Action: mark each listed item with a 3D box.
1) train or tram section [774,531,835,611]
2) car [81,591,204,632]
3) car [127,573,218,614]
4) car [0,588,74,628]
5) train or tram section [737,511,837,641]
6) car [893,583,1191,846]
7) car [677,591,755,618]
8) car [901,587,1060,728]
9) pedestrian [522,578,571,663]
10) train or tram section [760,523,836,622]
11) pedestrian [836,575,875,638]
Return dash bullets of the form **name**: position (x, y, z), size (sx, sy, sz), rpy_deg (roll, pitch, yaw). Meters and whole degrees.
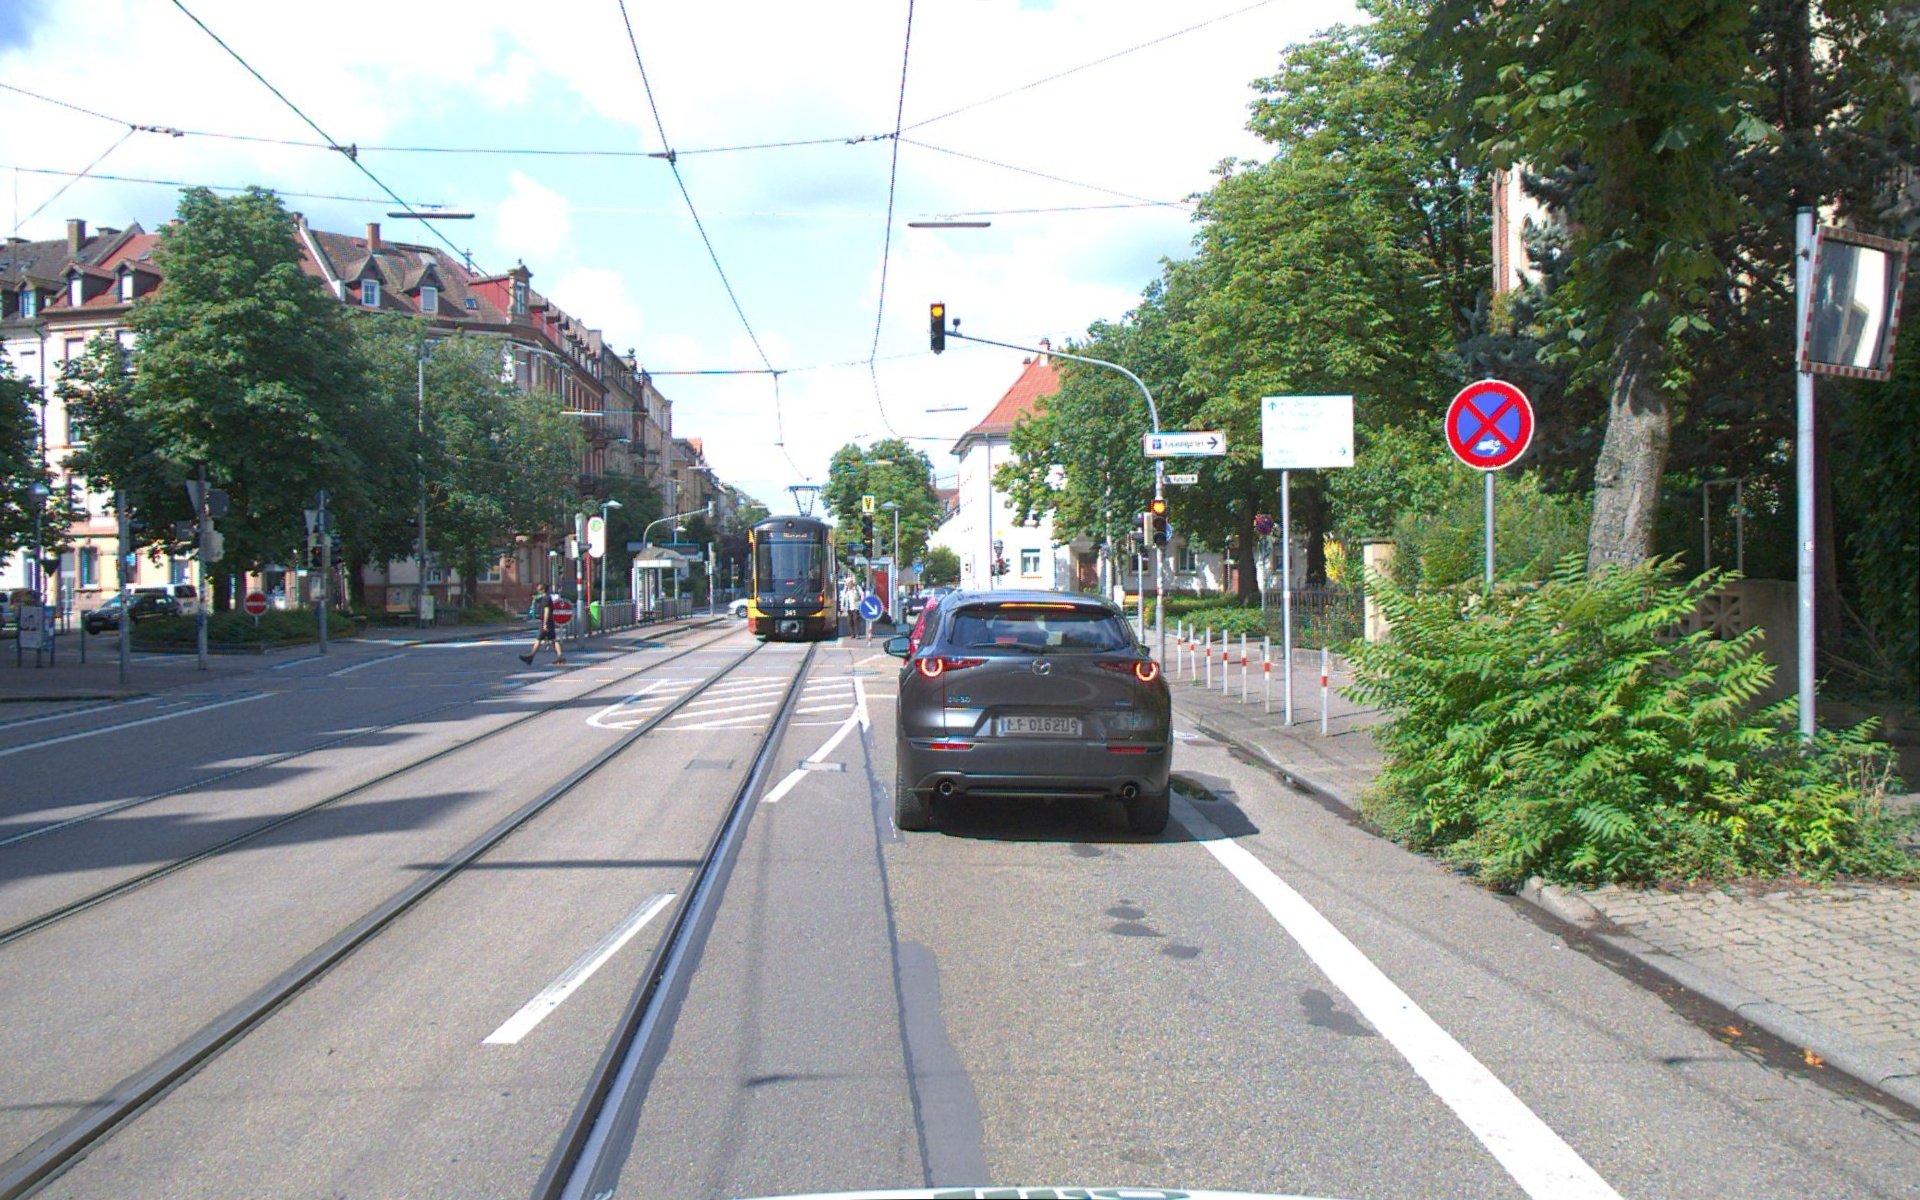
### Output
- **train or tram section**: position (-7.534, -1.484, 81.439), size (2.698, 3.551, 14.396), rpy_deg (-1, 1, -4)
- **car**: position (-32.148, 0.436, 65.087), size (4.031, 1.545, 1.736), rpy_deg (-1, 0, -40)
- **car**: position (-38.916, -0.321, 81.699), size (3.907, 1.937, 1.999), rpy_deg (0, 0, 24)
- **car**: position (-39.402, 0.348, 68.909), size (3.905, 1.624, 2.000), rpy_deg (-1, 0, 0)
- **train or tram section**: position (-5.318, -0.824, 52.746), size (2.698, 3.551, 14.396), rpy_deg (-1, 1, -4)
- **car**: position (0.456, 0.669, 11.841), size (1.742, 1.526, 3.999), rpy_deg (1, 0, -1)
- **car**: position (-13.022, 0.224, 88.472), size (3.906, 1.384, 1.678), rpy_deg (0, 0, -1)
- **car**: position (0.196, 0.623, 20.444), size (1.742, 1.526, 3.999), rpy_deg (1, 0, -1)
- **pedestrian**: position (-8.487, 0.415, 33.941), size (0.735, 1.713, 0.701), rpy_deg (-1, 0, 8)
- **train or tram section**: position (-6.426, -1.155, 67.078), size (2.698, 3.551, 14.396), rpy_deg (-1, 1, -4)
- **pedestrian**: position (-2.919, 0.181, 46.257), size (0.808, 1.735, 0.715), rpy_deg (0, 0, 39)
